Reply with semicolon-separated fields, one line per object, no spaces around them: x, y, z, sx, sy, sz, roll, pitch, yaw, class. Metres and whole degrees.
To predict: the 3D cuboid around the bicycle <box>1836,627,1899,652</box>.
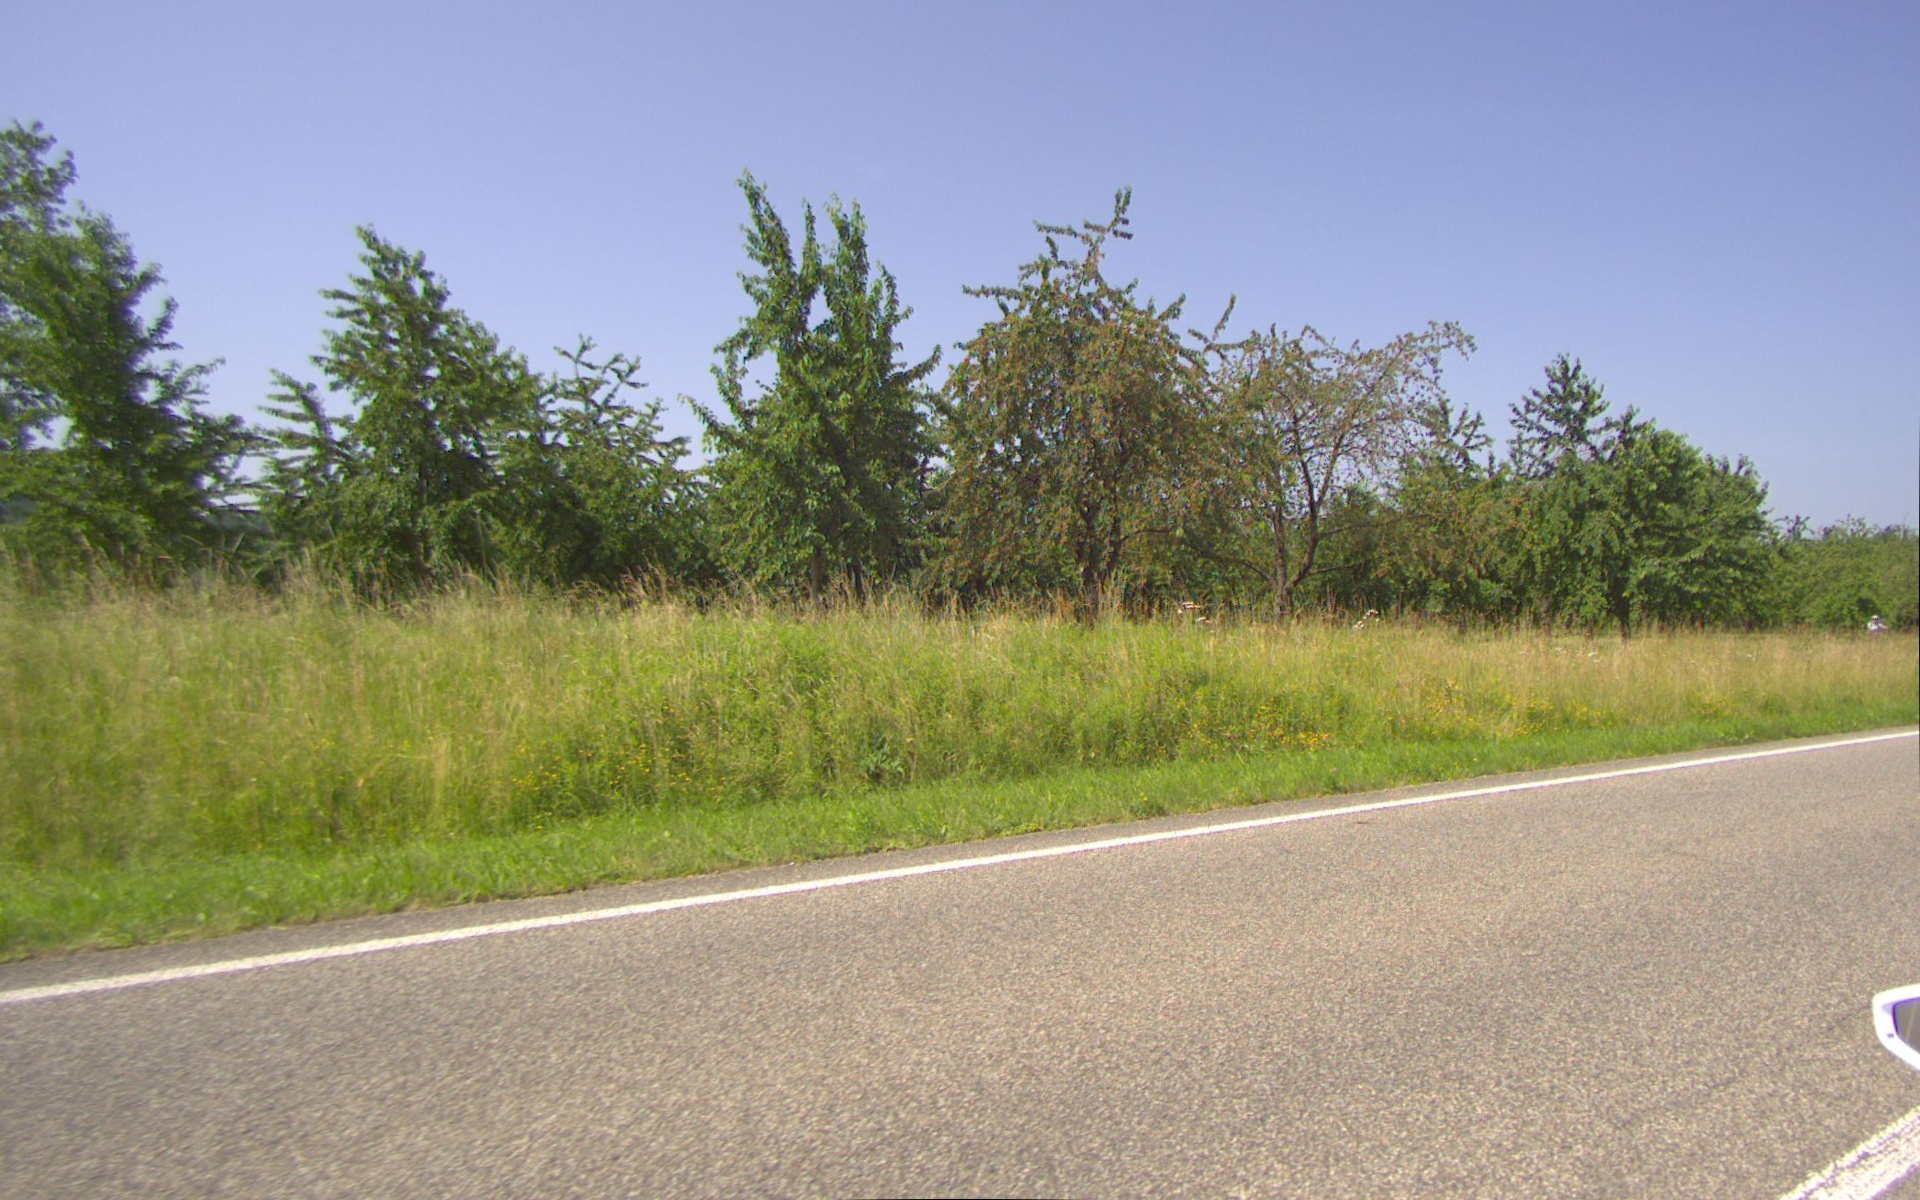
38.491;1.652;42.644;0.728;1.002;2.226;2;-1;4;bicycle

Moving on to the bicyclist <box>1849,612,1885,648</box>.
38.501;1.271;42.647;0.728;1.474;0.864;2;0;4;bicyclist
